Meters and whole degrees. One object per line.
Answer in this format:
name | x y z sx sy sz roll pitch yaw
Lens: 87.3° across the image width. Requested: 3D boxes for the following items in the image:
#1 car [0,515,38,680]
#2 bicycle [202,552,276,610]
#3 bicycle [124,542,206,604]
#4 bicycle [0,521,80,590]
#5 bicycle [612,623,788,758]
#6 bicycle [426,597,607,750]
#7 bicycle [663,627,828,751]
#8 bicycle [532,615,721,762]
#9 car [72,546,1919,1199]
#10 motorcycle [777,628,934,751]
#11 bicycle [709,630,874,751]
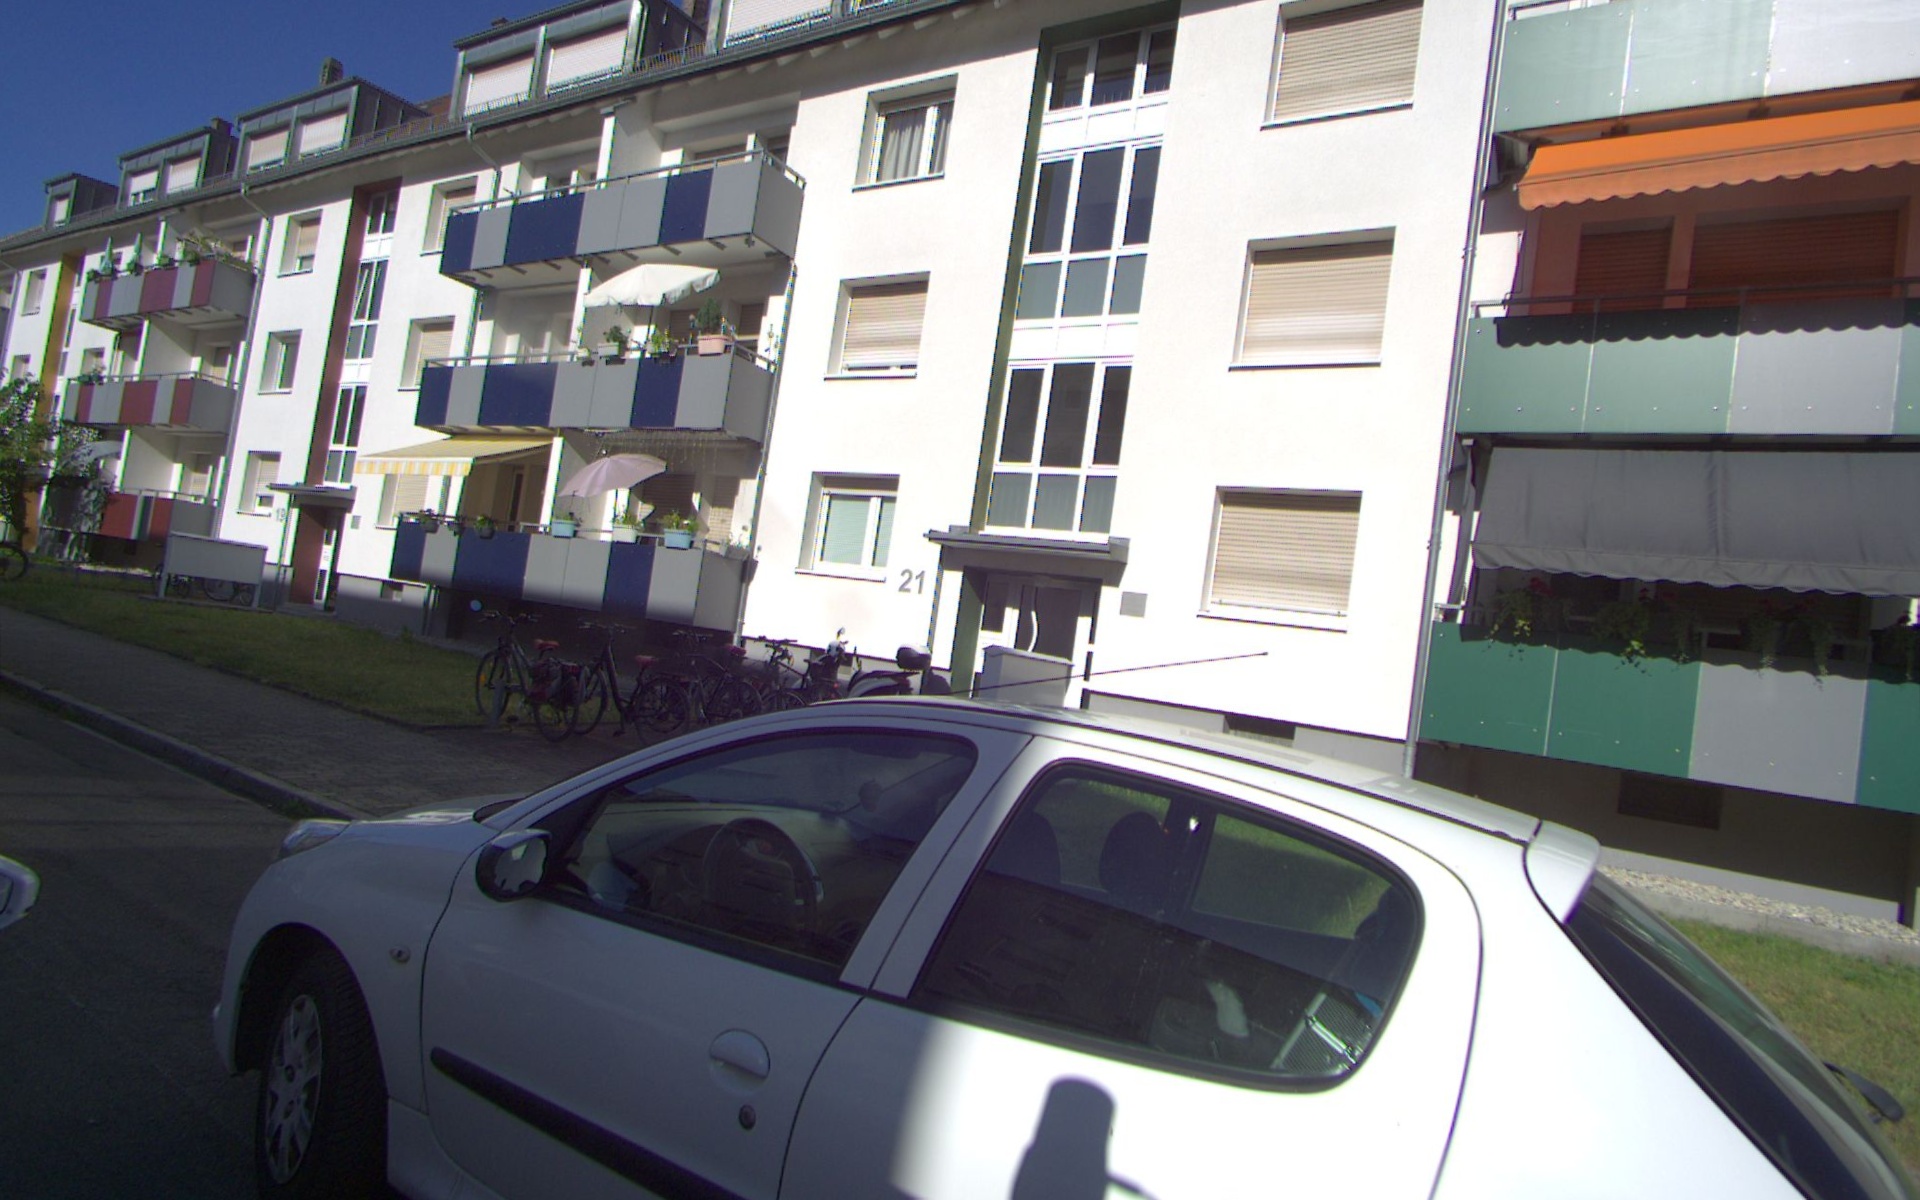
car | -10.054 -0.261 8.798 3.789 1.524 1.721 7 -6 31
bicycle | -15.757 -0.419 21.963 1.942 1.049 0.521 7 -1 32
bicycle | -16.536 -0.572 20.905 2.250 1.061 0.521 7 0 32
bicycle | -18.251 -0.940 18.856 0.866 1.142 2.426 7 -3 37
bicycle | -2.770 0.926 10.646 1.841 1.133 0.545 7 -1 31
bicycle | -4.265 0.676 9.626 1.842 1.184 0.545 7 -1 33
bicycle | -2.424 0.969 11.274 1.841 1.096 0.539 7 0 31
bicycle | -3.285 0.835 9.848 1.841 1.146 0.578 7 -1 31
car | -0.143 0.895 2.438 4.029 1.432 1.697 7 -5 31
motorcycle | -1.338 1.098 12.628 1.944 1.253 0.442 7 -1 32
bicycle | -2.005 1.049 11.865 1.841 1.128 0.597 7 -2 31
